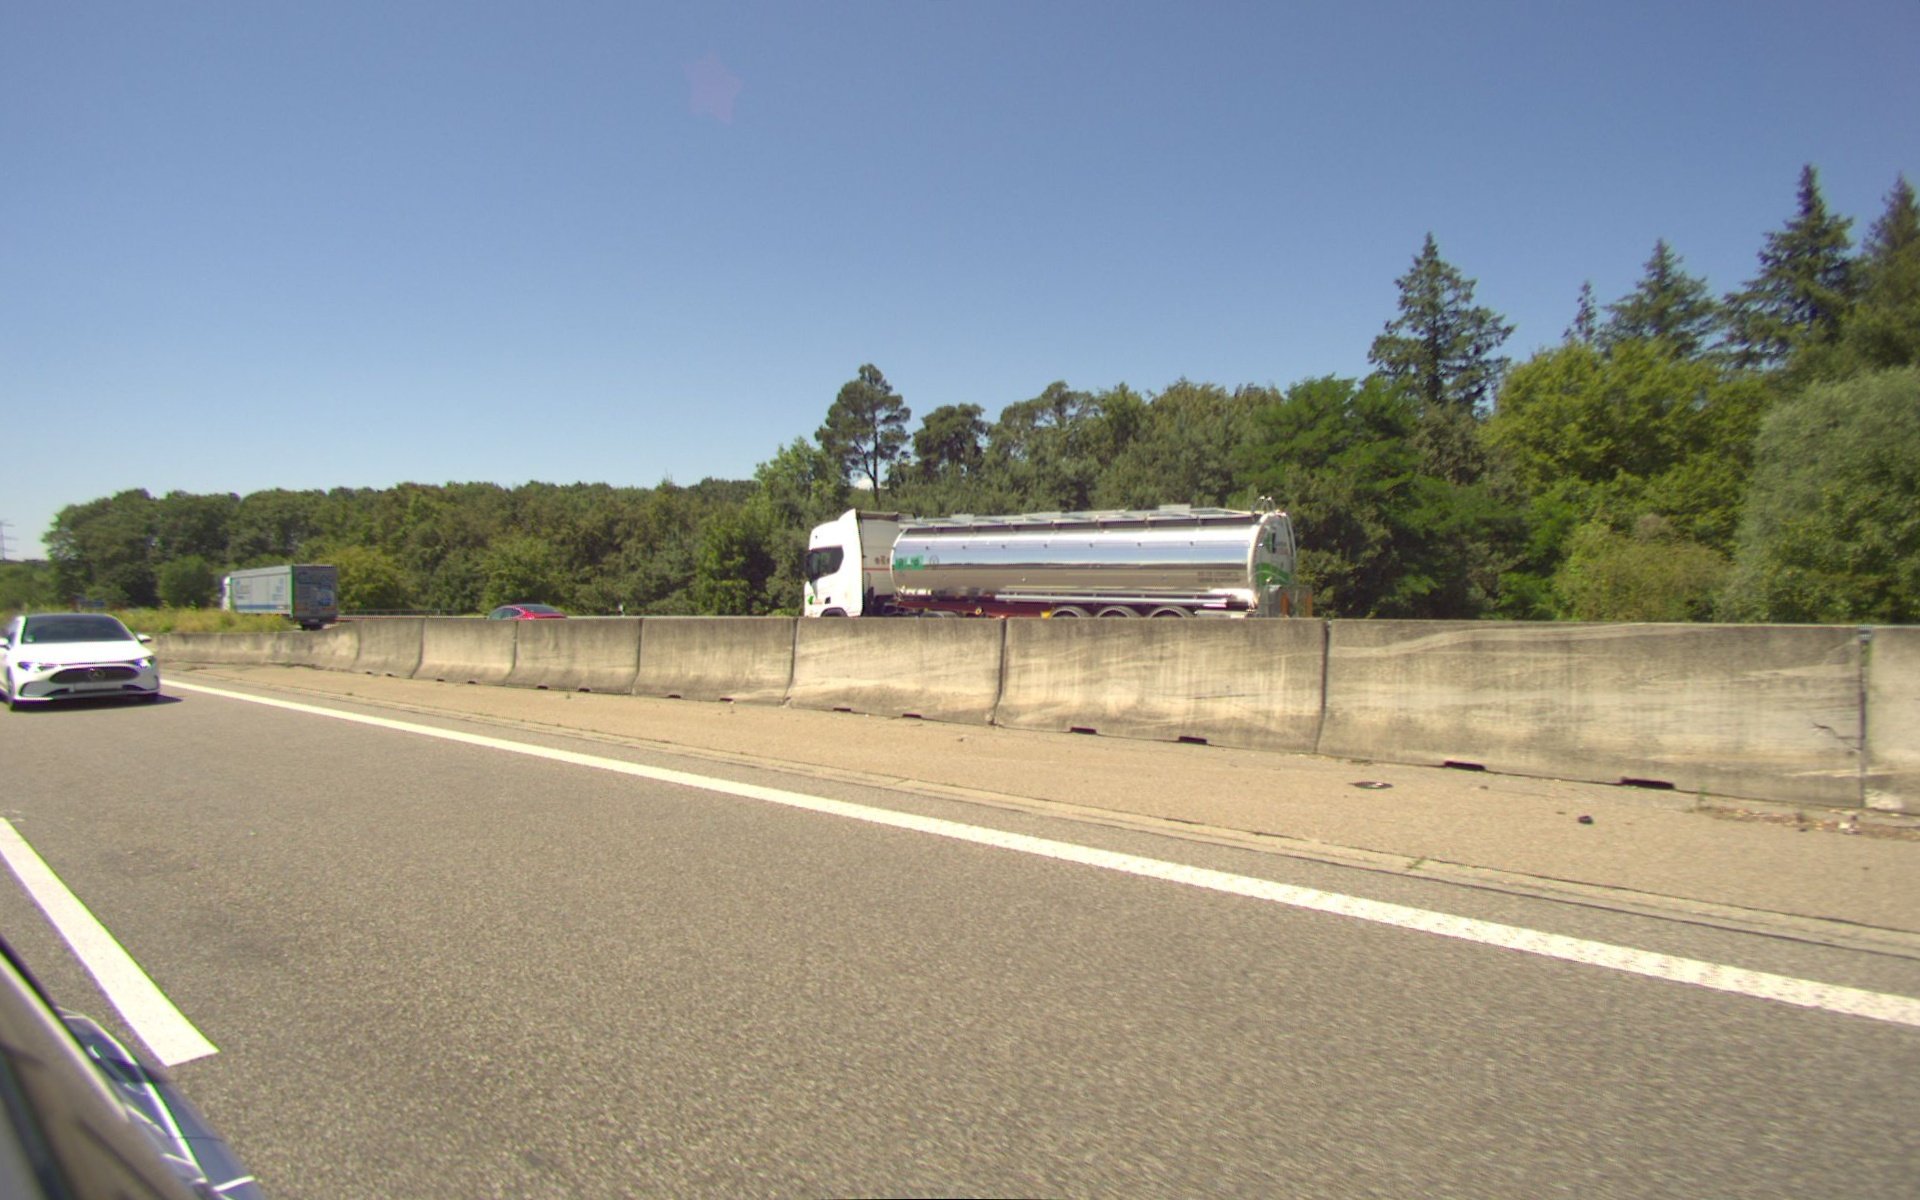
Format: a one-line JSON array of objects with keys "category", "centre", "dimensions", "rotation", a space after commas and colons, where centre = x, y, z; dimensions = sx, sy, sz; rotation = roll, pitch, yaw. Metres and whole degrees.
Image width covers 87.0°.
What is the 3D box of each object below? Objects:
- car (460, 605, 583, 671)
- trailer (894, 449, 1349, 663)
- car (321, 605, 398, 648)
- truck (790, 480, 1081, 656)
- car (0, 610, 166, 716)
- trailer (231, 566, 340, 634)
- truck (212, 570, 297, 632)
[{"category": "car", "centre": [-14.893, 1.229, 34.240], "dimensions": [4.572, 2.029, 1.973], "rotation": [-1, 0, 40]}, {"category": "trailer", "centre": [3.266, -0.855, 23.632], "dimensions": [10.422, 4.077, 2.780], "rotation": [-1, 3, 40]}, {"category": "car", "centre": [-30.132, 1.292, 50.740], "dimensions": [4.585, 2.029, 1.973], "rotation": [-1, 0, 41]}, {"category": "truck", "centre": [-0.852, -0.786, 27.112], "dimensions": [7.725, 4.077, 2.779], "rotation": [-1, 3, 40]}, {"category": "car", "centre": [-14.635, 0.926, 16.597], "dimensions": [5.107, 1.459, 1.748], "rotation": [-1, 0, 43]}, {"category": "trailer", "centre": [-44.302, 0.090, 66.283], "dimensions": [11.769, 4.107, 2.953], "rotation": [-1, 0, 41]}, {"category": "truck", "centre": [-49.576, 0.132, 71.021], "dimensions": [8.189, 4.107, 2.953], "rotation": [-1, 0, 41]}]
